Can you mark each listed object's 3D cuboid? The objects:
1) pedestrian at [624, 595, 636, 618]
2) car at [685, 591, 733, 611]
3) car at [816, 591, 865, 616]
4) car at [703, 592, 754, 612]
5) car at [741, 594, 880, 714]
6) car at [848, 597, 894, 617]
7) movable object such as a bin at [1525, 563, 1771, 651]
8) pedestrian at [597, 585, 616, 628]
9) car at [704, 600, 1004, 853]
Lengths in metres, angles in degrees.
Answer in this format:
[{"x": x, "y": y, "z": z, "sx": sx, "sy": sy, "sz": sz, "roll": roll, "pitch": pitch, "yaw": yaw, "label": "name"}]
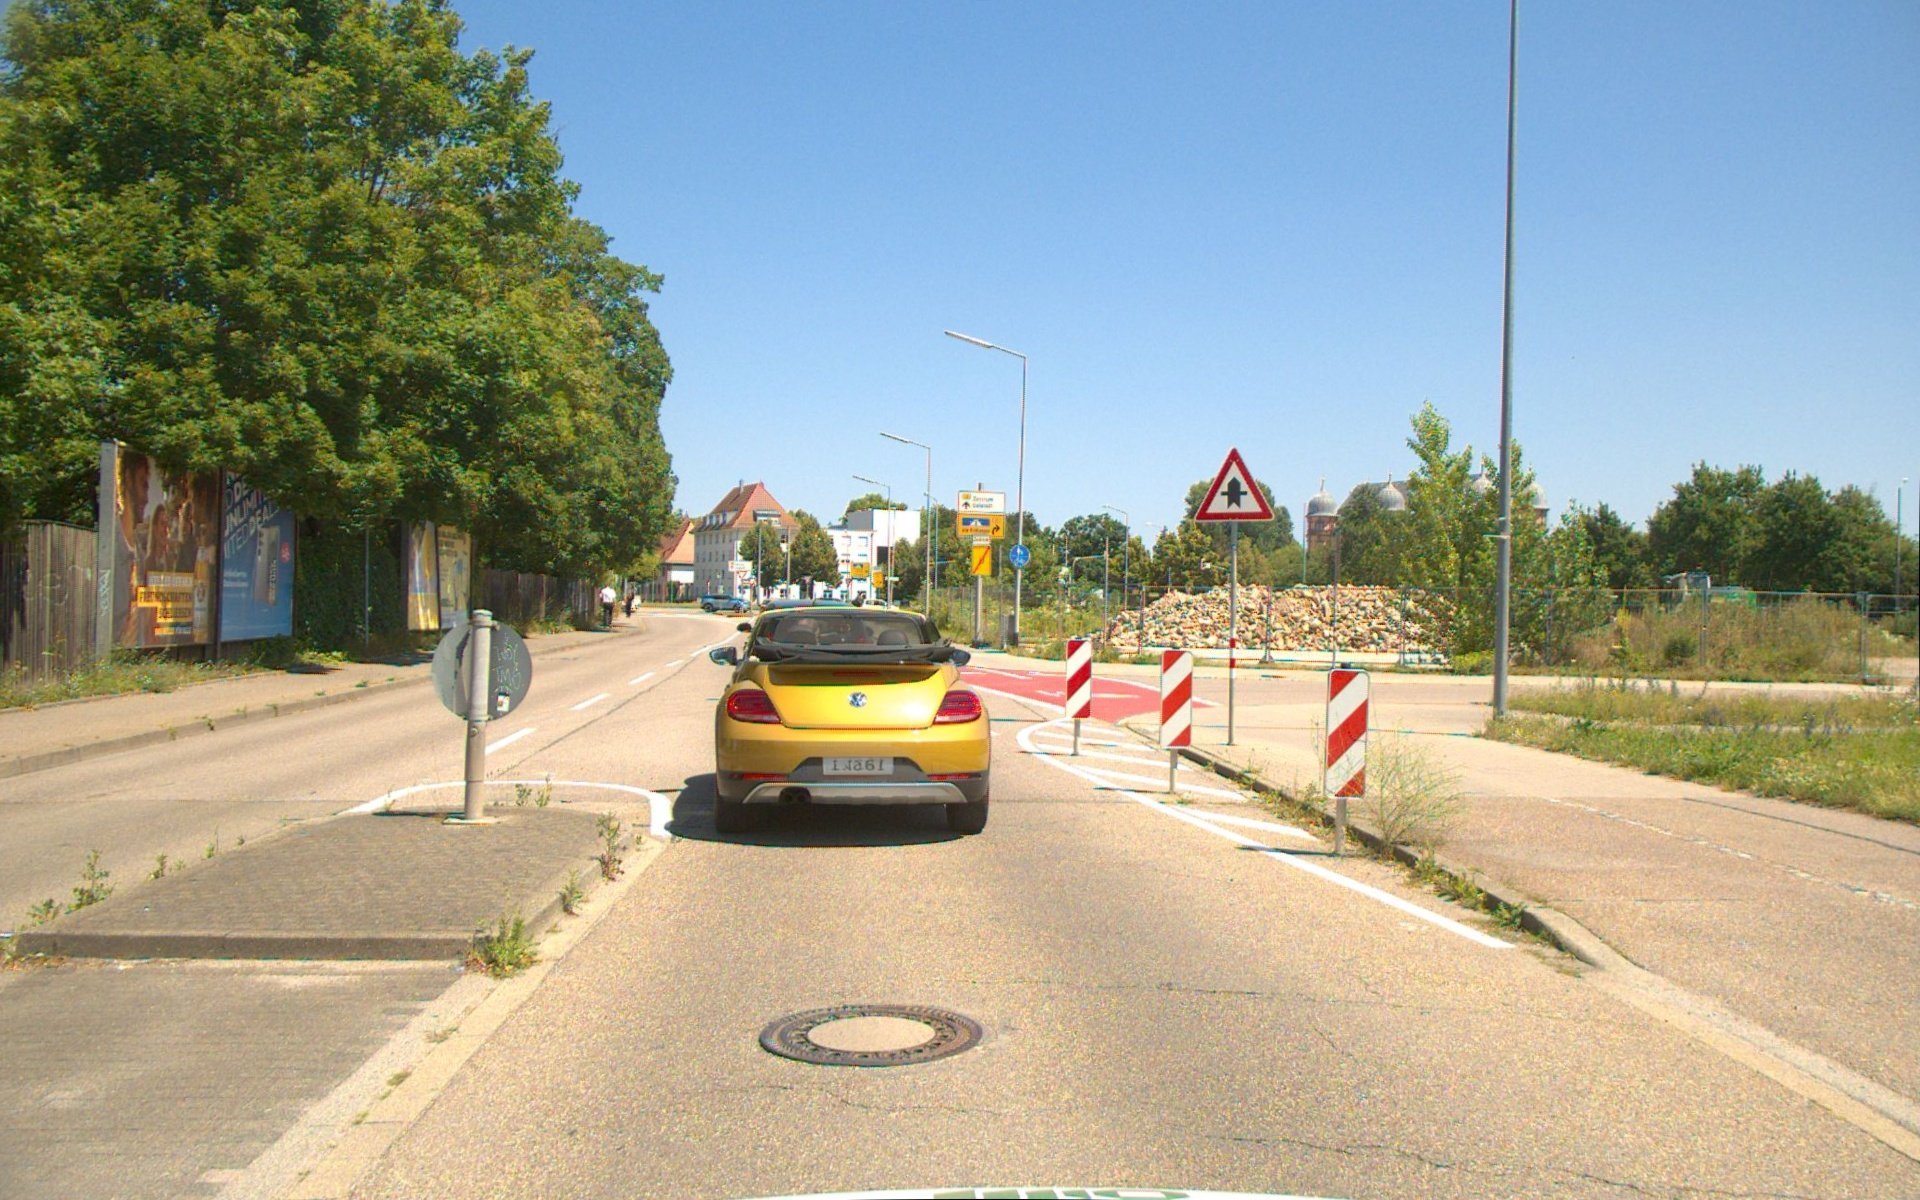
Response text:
[{"x": -21.342, "y": 0.440, "z": 106.918, "sx": 0.709, "sy": 1.480, "sz": 0.816, "roll": 1, "pitch": 0, "yaw": -11, "label": "pedestrian"}, {"x": -22.012, "y": 0.113, "z": 145.201, "sx": 3.905, "sy": 1.580, "sz": 1.992, "roll": 2, "pitch": 0, "yaw": 0, "label": "car"}, {"x": -10.118, "y": 0.277, "z": 140.264, "sx": 3.904, "sy": 2.049, "sz": 2.000, "roll": 0, "pitch": 0, "yaw": 2, "label": "car"}, {"x": -19.248, "y": 0.182, "z": 137.613, "sx": 3.903, "sy": 1.641, "sz": 1.791, "roll": 0, "pitch": 0, "yaw": 4, "label": "car"}, {"x": -2.051, "y": 0.669, "z": 22.429, "sx": 1.693, "sy": 1.468, "sz": 3.995, "roll": 1, "pitch": 0, "yaw": -6, "label": "car"}, {"x": -7.781, "y": 0.575, "z": 145.060, "sx": 3.904, "sy": 1.709, "sz": 2.260, "roll": 0, "pitch": 0, "yaw": 1, "label": "car"}, {"x": 28.233, "y": 0.271, "z": 68.760, "sx": 4.846, "sy": 3.317, "sz": 10.450, "roll": 1, "pitch": 0, "yaw": -8, "label": "movable object such as a bin"}, {"x": -14.699, "y": 0.257, "z": 68.778, "sx": 0.709, "sy": 1.755, "sz": 0.816, "roll": 1, "pitch": 0, "yaw": -11, "label": "pedestrian"}, {"x": -0.778, "y": 0.754, "z": 11.694, "sx": 1.755, "sy": 1.462, "sz": 3.810, "roll": 1, "pitch": 0, "yaw": -5, "label": "car"}]
